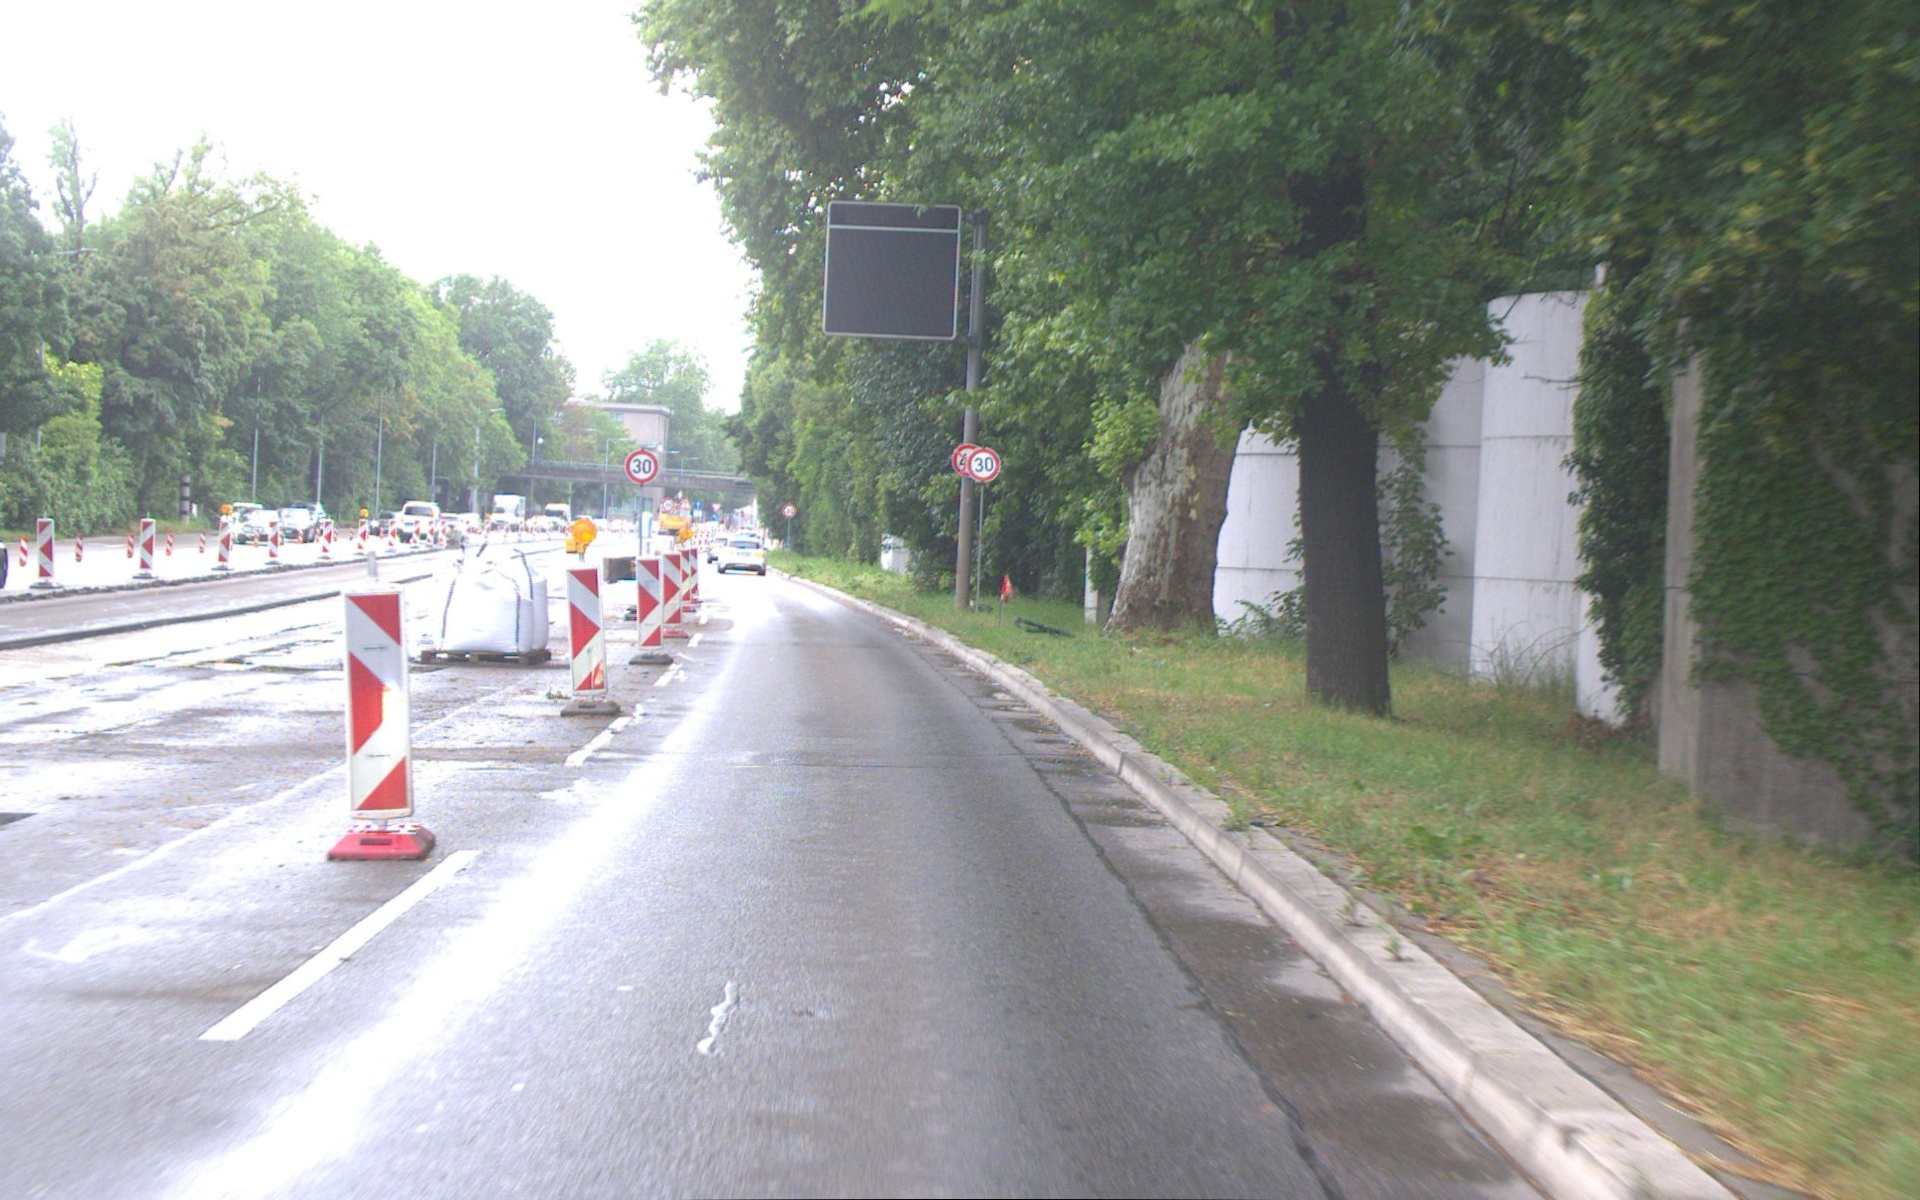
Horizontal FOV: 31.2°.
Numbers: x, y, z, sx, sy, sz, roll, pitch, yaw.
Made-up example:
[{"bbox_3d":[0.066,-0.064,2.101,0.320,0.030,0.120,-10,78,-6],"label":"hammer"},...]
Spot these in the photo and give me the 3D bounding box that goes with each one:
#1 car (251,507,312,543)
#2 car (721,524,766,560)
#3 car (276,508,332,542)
[{"bbox_3d":[-26.455,-2.943,134.077,1.817,1.351,4.391,1,1,-4],"label":"car"},{"bbox_3d":[-8.373,-2.250,132.832,1.697,1.331,3.492,0,1,-4],"label":"car"},{"bbox_3d":[-26.895,-3.097,141.038,1.817,1.351,4.206,1,1,-4],"label":"car"}]
